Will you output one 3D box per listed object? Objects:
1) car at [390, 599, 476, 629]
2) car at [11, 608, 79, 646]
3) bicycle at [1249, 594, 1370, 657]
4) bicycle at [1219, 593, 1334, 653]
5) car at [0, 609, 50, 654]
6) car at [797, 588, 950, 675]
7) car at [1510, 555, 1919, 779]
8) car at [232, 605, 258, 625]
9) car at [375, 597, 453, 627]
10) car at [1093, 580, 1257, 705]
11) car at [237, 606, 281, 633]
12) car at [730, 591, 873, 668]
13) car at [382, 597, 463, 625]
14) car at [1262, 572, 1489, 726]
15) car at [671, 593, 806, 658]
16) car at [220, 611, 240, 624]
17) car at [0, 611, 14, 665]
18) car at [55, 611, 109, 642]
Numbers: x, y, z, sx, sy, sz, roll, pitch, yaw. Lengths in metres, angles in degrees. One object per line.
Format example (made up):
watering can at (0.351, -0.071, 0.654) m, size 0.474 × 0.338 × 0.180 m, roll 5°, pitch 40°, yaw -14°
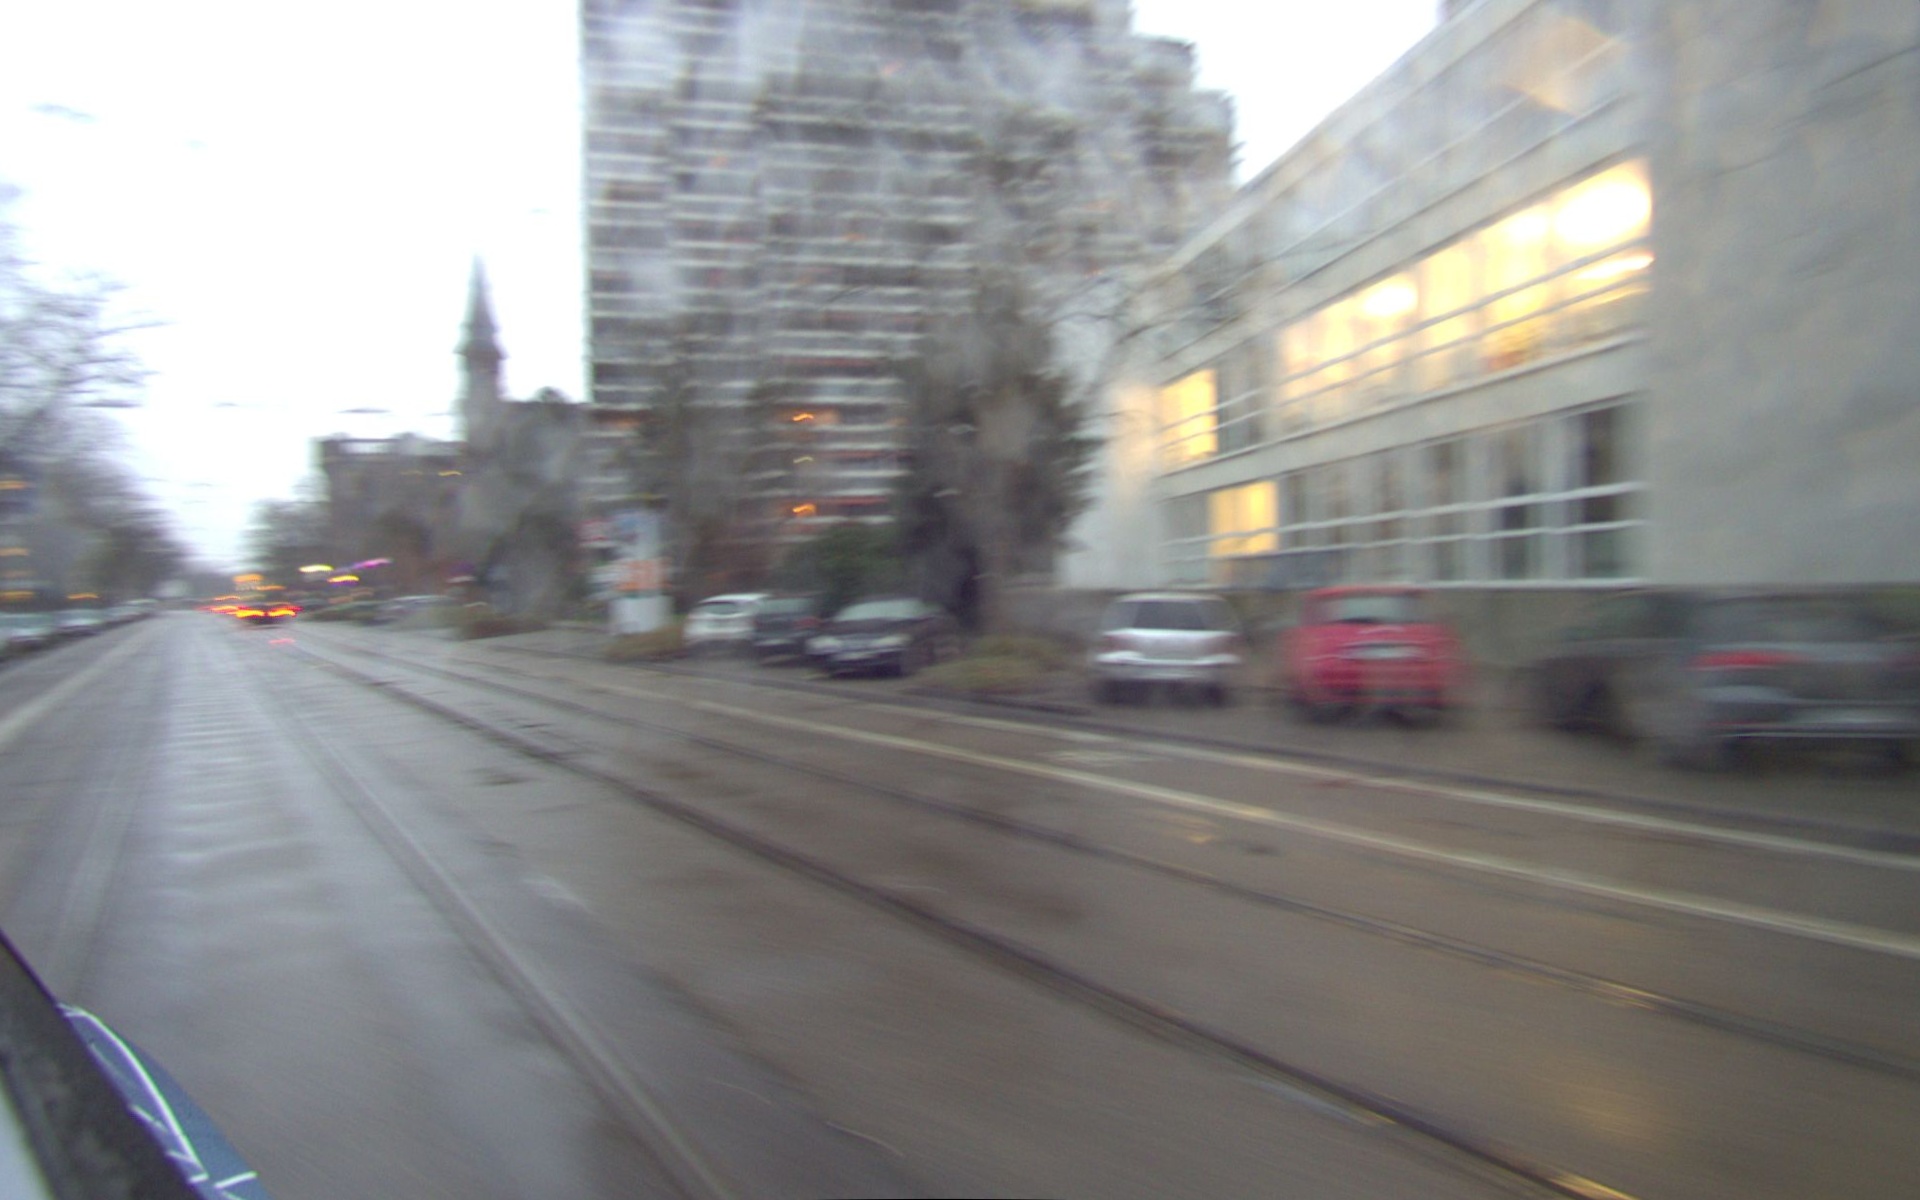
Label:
car at (-28.203, 0.746, 54.187) m, size 3.932 × 1.497 × 1.677 m, roll -1°, pitch 0°, yaw -32°
car at (-41.687, 1.227, 46.179) m, size 1.837 × 1.606 × 4.010 m, roll -1°, pitch 0°, yaw -35°
bicycle at (6.670, 0.470, 19.301) m, size 2.168 × 1.129 × 0.644 m, roll -1°, pitch 0°, yaw -15°
bicycle at (6.358, 0.448, 20.324) m, size 2.168 × 1.129 × 0.644 m, roll -1°, pitch 0°, yaw -15°
car at (-36.235, 1.189, 38.582) m, size 1.837 × 1.606 × 4.010 m, roll -1°, pitch 0°, yaw -35°
car at (-1.457, 0.528, 18.607) m, size 1.836 × 1.389 × 3.987 m, roll -1°, pitch 0°, yaw 10°
car at (6.443, 0.462, 8.757) m, size 1.676 × 1.504 × 3.844 m, roll -1°, pitch 0°, yaw 8°
car at (-59.339, 1.230, 83.928) m, size 1.684 × 1.591 × 4.389 m, roll -1°, pitch 0°, yaw -36°
car at (-32.201, 0.716, 59.660) m, size 3.932 × 1.652 × 2.006 m, roll -1°, pitch 0°, yaw -32°
car at (2.807, 0.516, 14.005) m, size 1.771 × 1.457 × 3.992 m, roll -1°, pitch 0°, yaw 6°
car at (-42.808, 1.172, 61.771) m, size 1.726 × 1.556 × 4.301 m, roll -1°, pitch -1°, yaw -41°
car at (-3.288, 0.587, 21.766) m, size 1.836 × 1.473 × 3.987 m, roll -1°, pitch 0°, yaw 10°
car at (-30.454, 0.604, 57.384) m, size 3.932 × 1.497 × 1.677 m, roll -1°, pitch 0°, yaw -32°
car at (4.634, 0.502, 11.794) m, size 1.710 × 1.504 × 3.440 m, roll -1°, pitch 0°, yaw 10°
car at (-5.270, 0.576, 24.611) m, size 1.836 × 1.410 × 3.987 m, roll -1°, pitch 0°, yaw 10°
car at (-83.386, 1.951, 115.516) m, size 1.738 × 1.421 × 4.008 m, roll -1°, pitch 0°, yaw -37°
car at (-29.655, 1.148, 30.128) m, size 1.725 × 1.596 × 3.745 m, roll -1°, pitch 0°, yaw -36°
car at (-47.780, 1.414, 55.162) m, size 1.837 × 1.606 × 4.010 m, roll -1°, pitch 0°, yaw -35°
